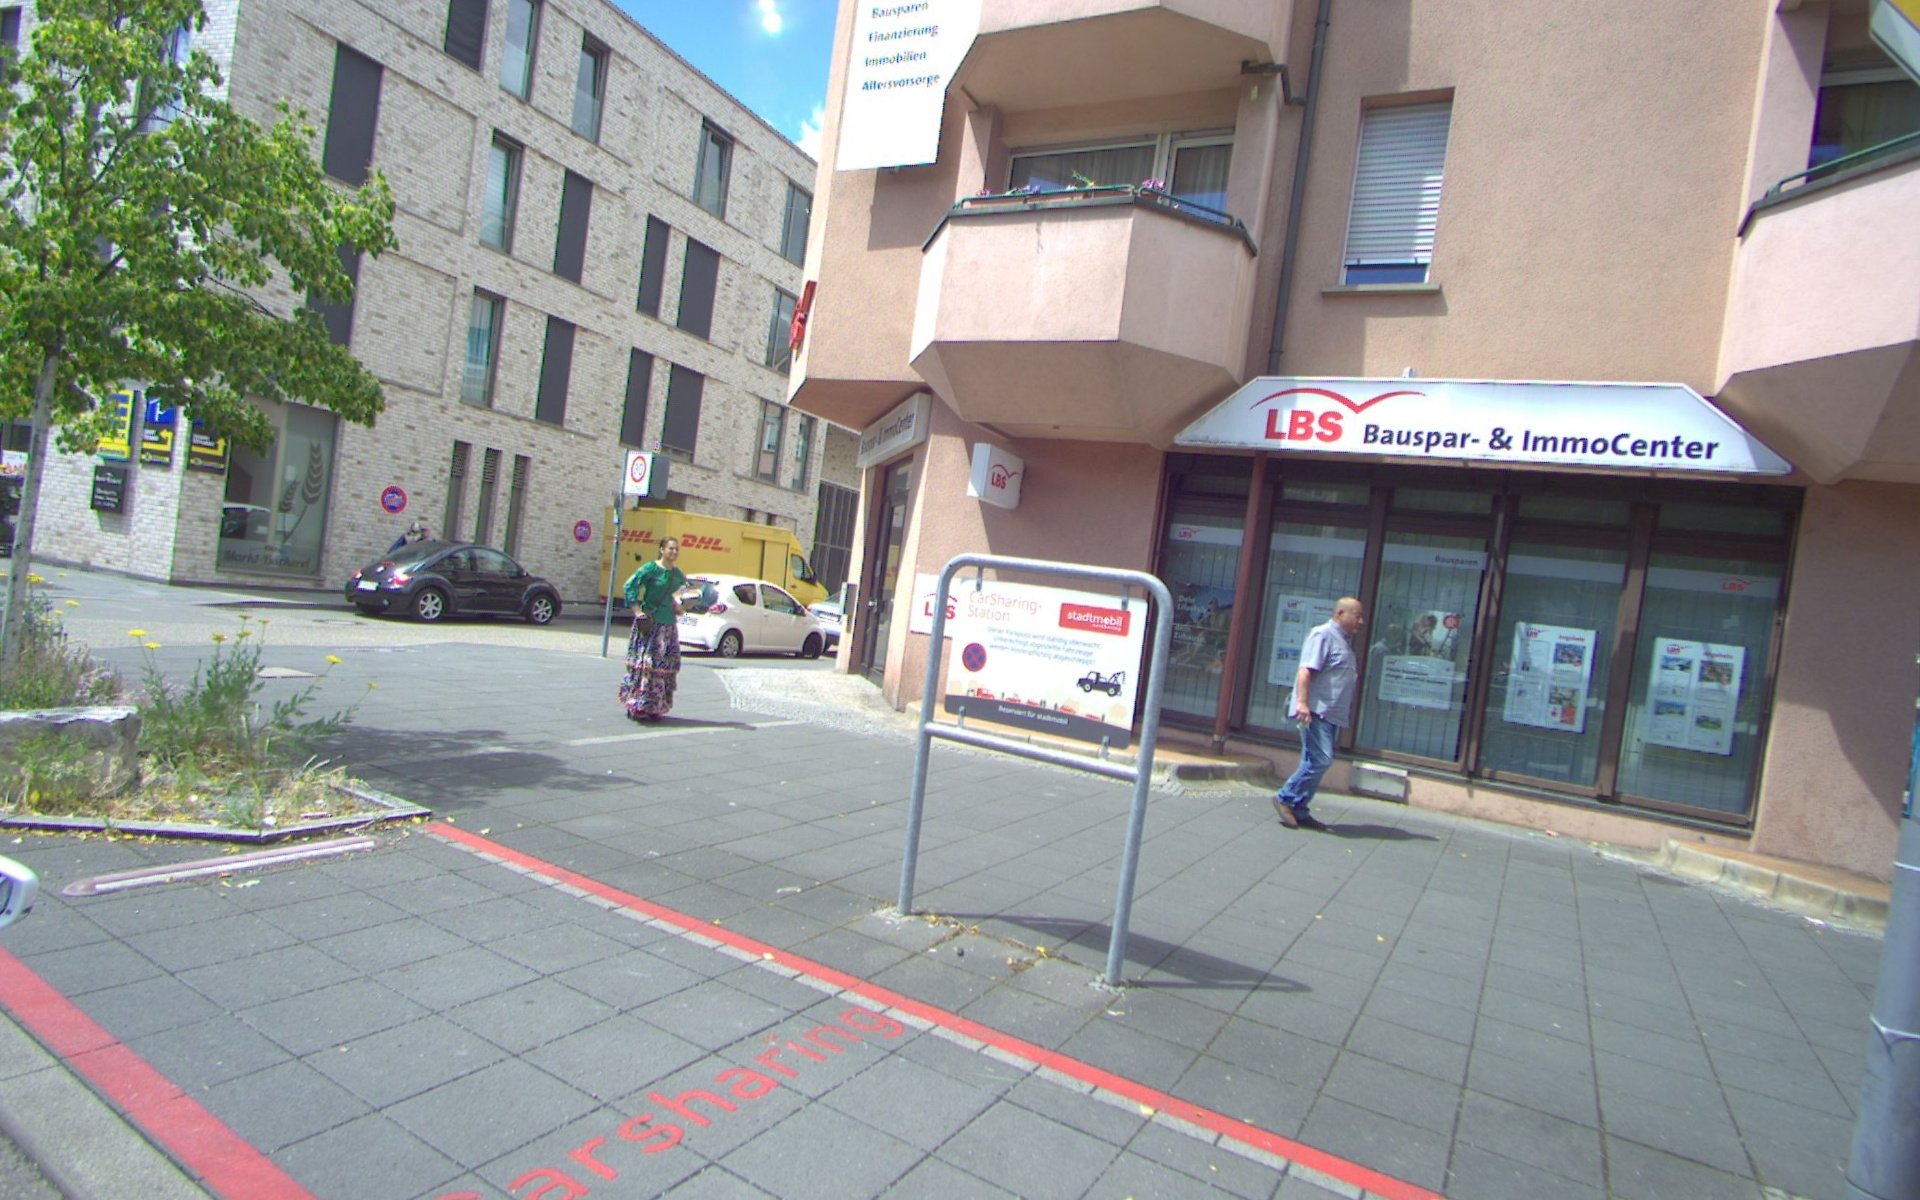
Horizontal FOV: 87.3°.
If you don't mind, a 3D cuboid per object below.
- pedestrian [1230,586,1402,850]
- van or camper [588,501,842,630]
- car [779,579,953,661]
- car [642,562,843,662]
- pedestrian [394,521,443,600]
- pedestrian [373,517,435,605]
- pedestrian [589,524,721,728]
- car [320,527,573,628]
[{"bbox_3d":[2.584,0.808,7.283,0.928,1.707,0.717,6,1,28],"label":"pedestrian"},{"bbox_3d":[-6.031,-0.728,26.031,2.237,2.772,6.863,6,1,28],"label":"van or camper"},{"bbox_3d":[-2.005,0.489,22.606,1.801,1.496,4.014,8,1,29],"label":"car"},{"bbox_3d":[-3.909,0.261,18.533,1.689,1.496,3.385,8,1,29],"label":"car"},{"bbox_3d":[-11.500,-0.826,21.391,0.592,1.592,0.522,6,-1,-2],"label":"pedestrian"},{"bbox_3d":[-11.463,-0.788,20.754,0.801,1.691,0.555,6,-1,-3],"label":"pedestrian"},{"bbox_3d":[-2.700,0.217,8.852,0.739,1.661,0.918,5,3,-34],"label":"pedestrian"},{"bbox_3d":[-9.603,-0.358,19.131,1.752,1.496,3.900,8,1,27],"label":"car"}]
